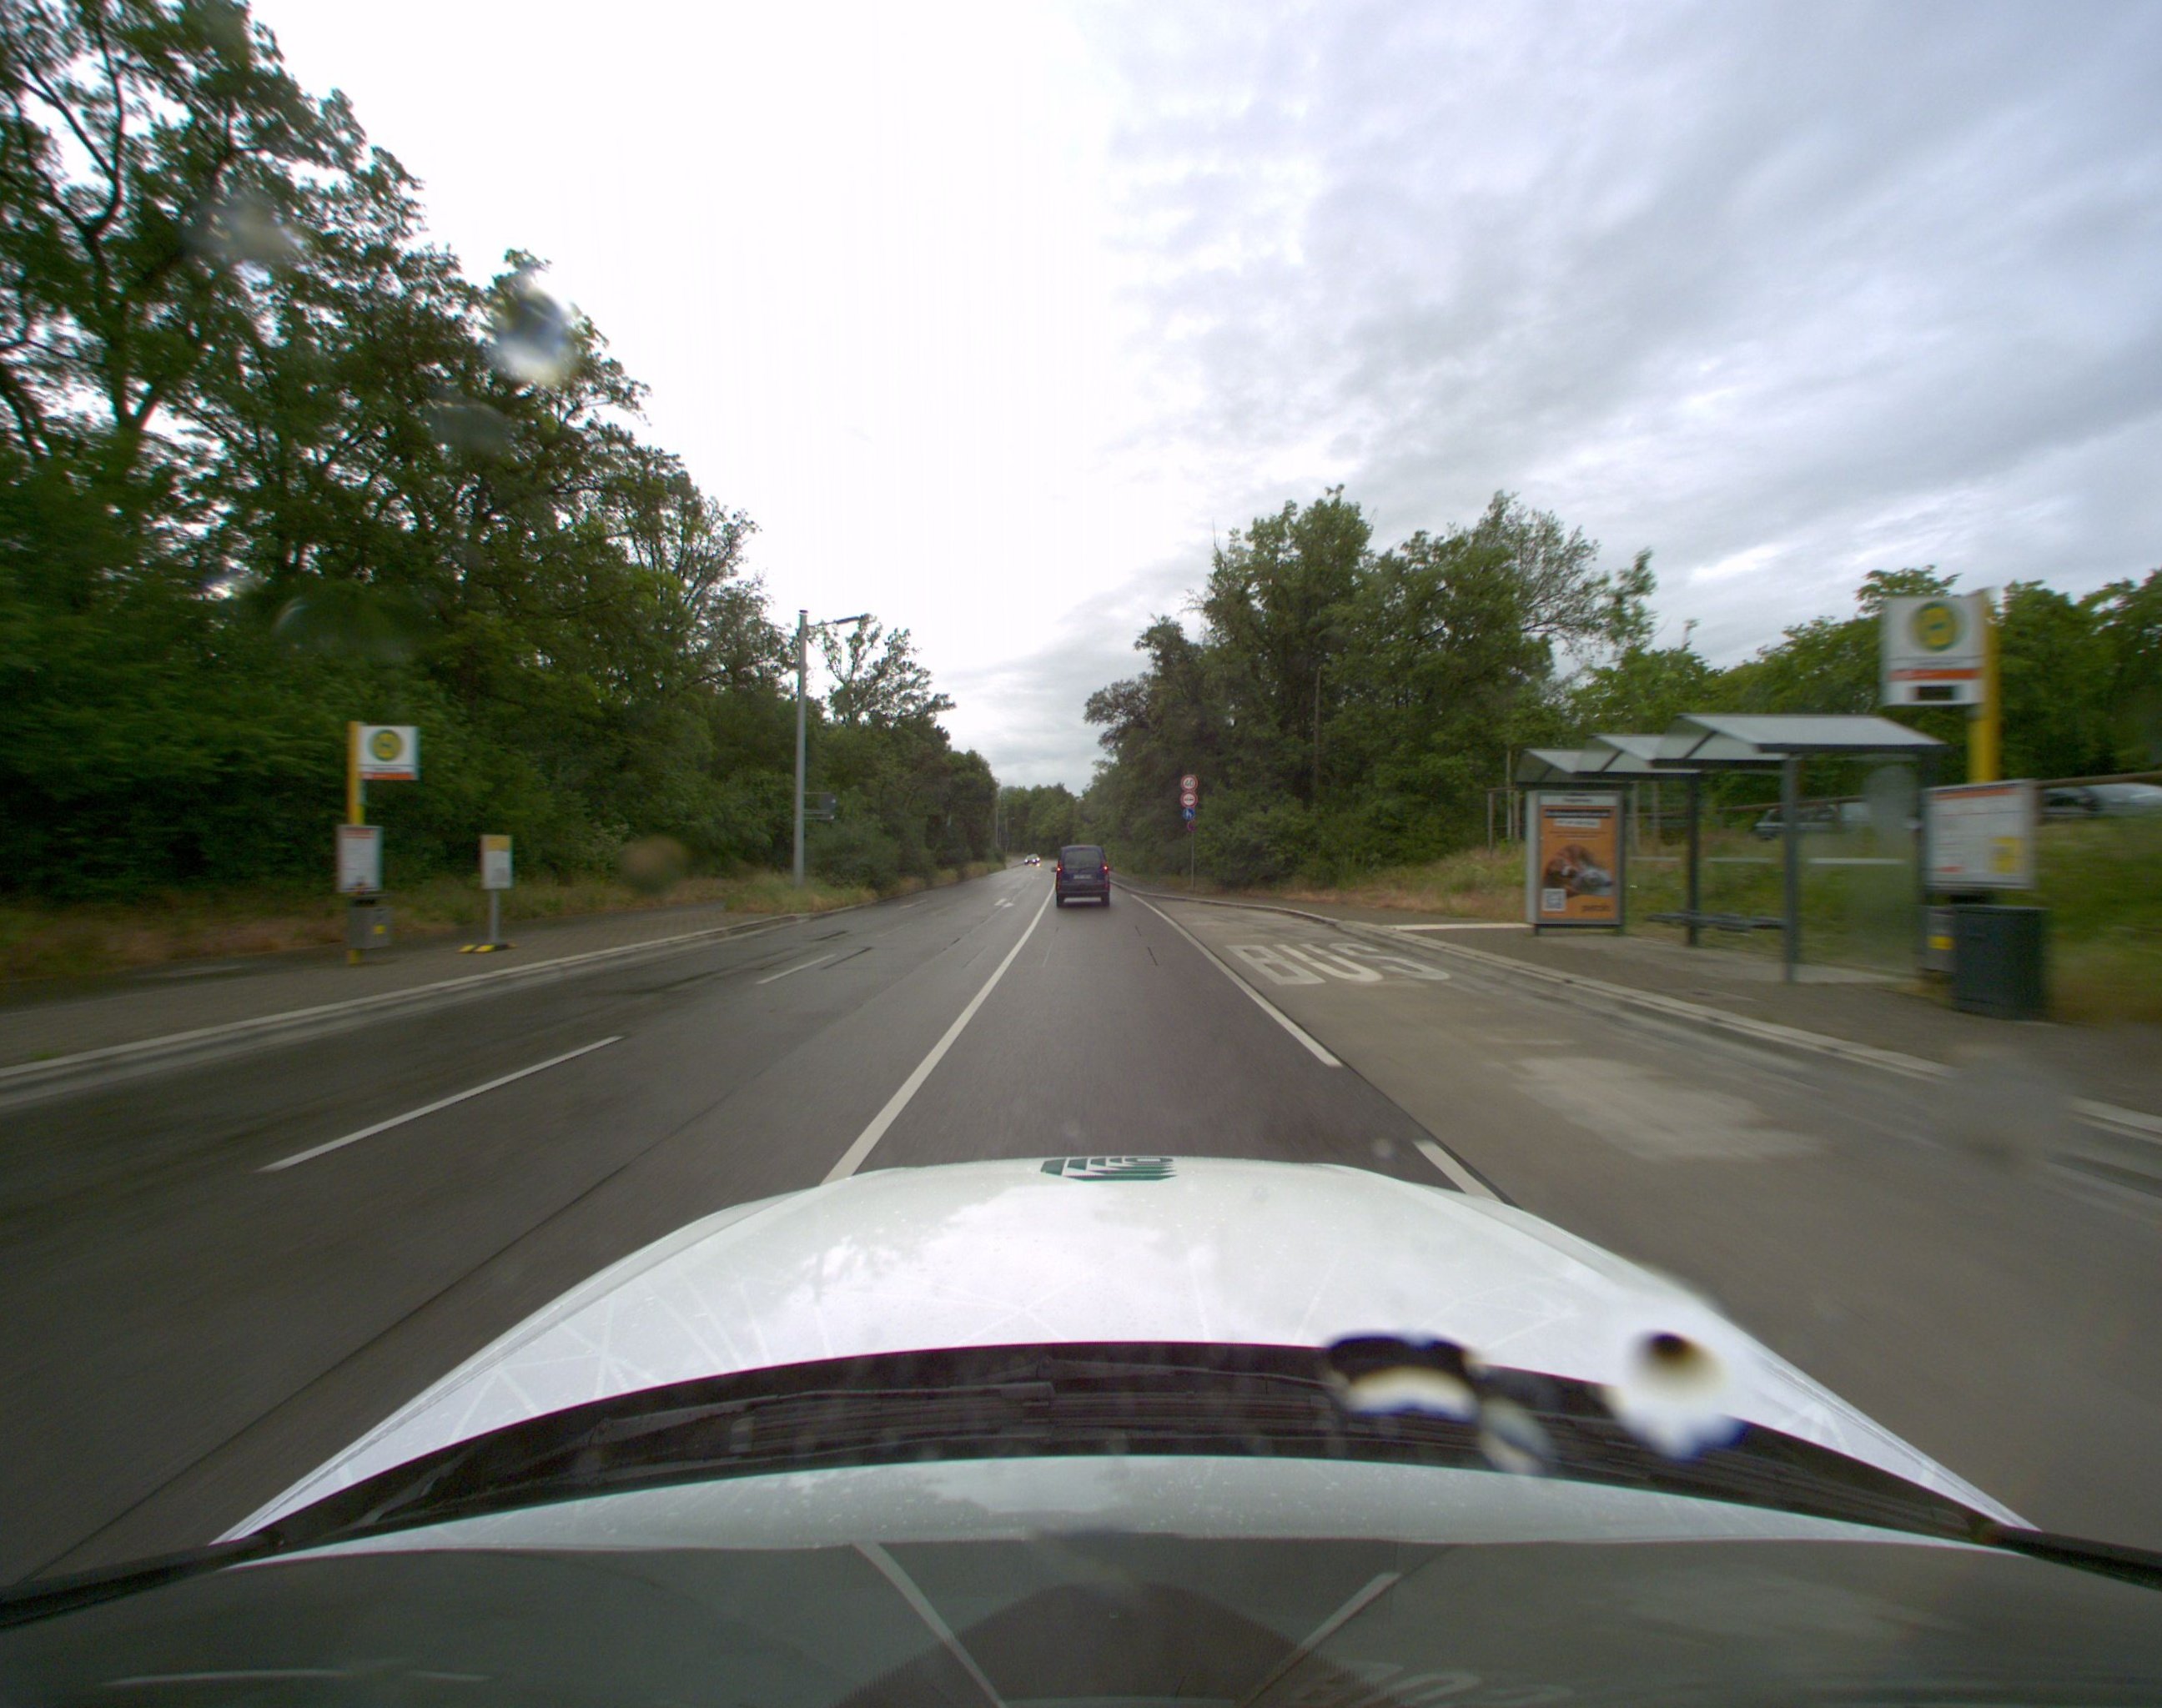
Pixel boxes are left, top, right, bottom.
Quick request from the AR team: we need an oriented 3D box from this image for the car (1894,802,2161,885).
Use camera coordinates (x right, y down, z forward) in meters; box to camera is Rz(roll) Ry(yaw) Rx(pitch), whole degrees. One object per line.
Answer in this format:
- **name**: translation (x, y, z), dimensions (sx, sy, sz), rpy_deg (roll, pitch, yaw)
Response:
- **car**: translation (22.429, -0.225, 19.379), dimensions (1.983, 1.662, 4.481), rpy_deg (3, 0, 7)

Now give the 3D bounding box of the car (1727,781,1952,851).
- **car**: translation (19.336, -0.889, 21.133), dimensions (1.875, 1.480, 4.792), rpy_deg (2, -1, 8)

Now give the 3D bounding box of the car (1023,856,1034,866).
- **car**: translation (-8.084, 1.023, 125.287), dimensions (1.595, 1.441, 3.987), rpy_deg (-2, 0, -2)

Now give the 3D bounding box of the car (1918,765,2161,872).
- **car**: translation (18.557, -0.559, 14.999), dimensions (1.983, 1.662, 4.481), rpy_deg (3, 0, 7)

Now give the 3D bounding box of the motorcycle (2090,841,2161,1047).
- **motorcycle**: translation (6.970, 0.563, 4.746), dimensions (0.584, 1.289, 1.544), rpy_deg (-1, 0, 16)

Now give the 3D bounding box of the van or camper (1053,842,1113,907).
- **van or camper**: translation (0.108, 0.603, 25.614), dimensions (1.706, 1.826, 4.001), rpy_deg (1, 0, 2)

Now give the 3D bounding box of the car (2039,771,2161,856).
- **car**: translation (21.087, -0.774, 15.226), dimensions (1.875, 1.480, 4.077), rpy_deg (2, -1, 8)
